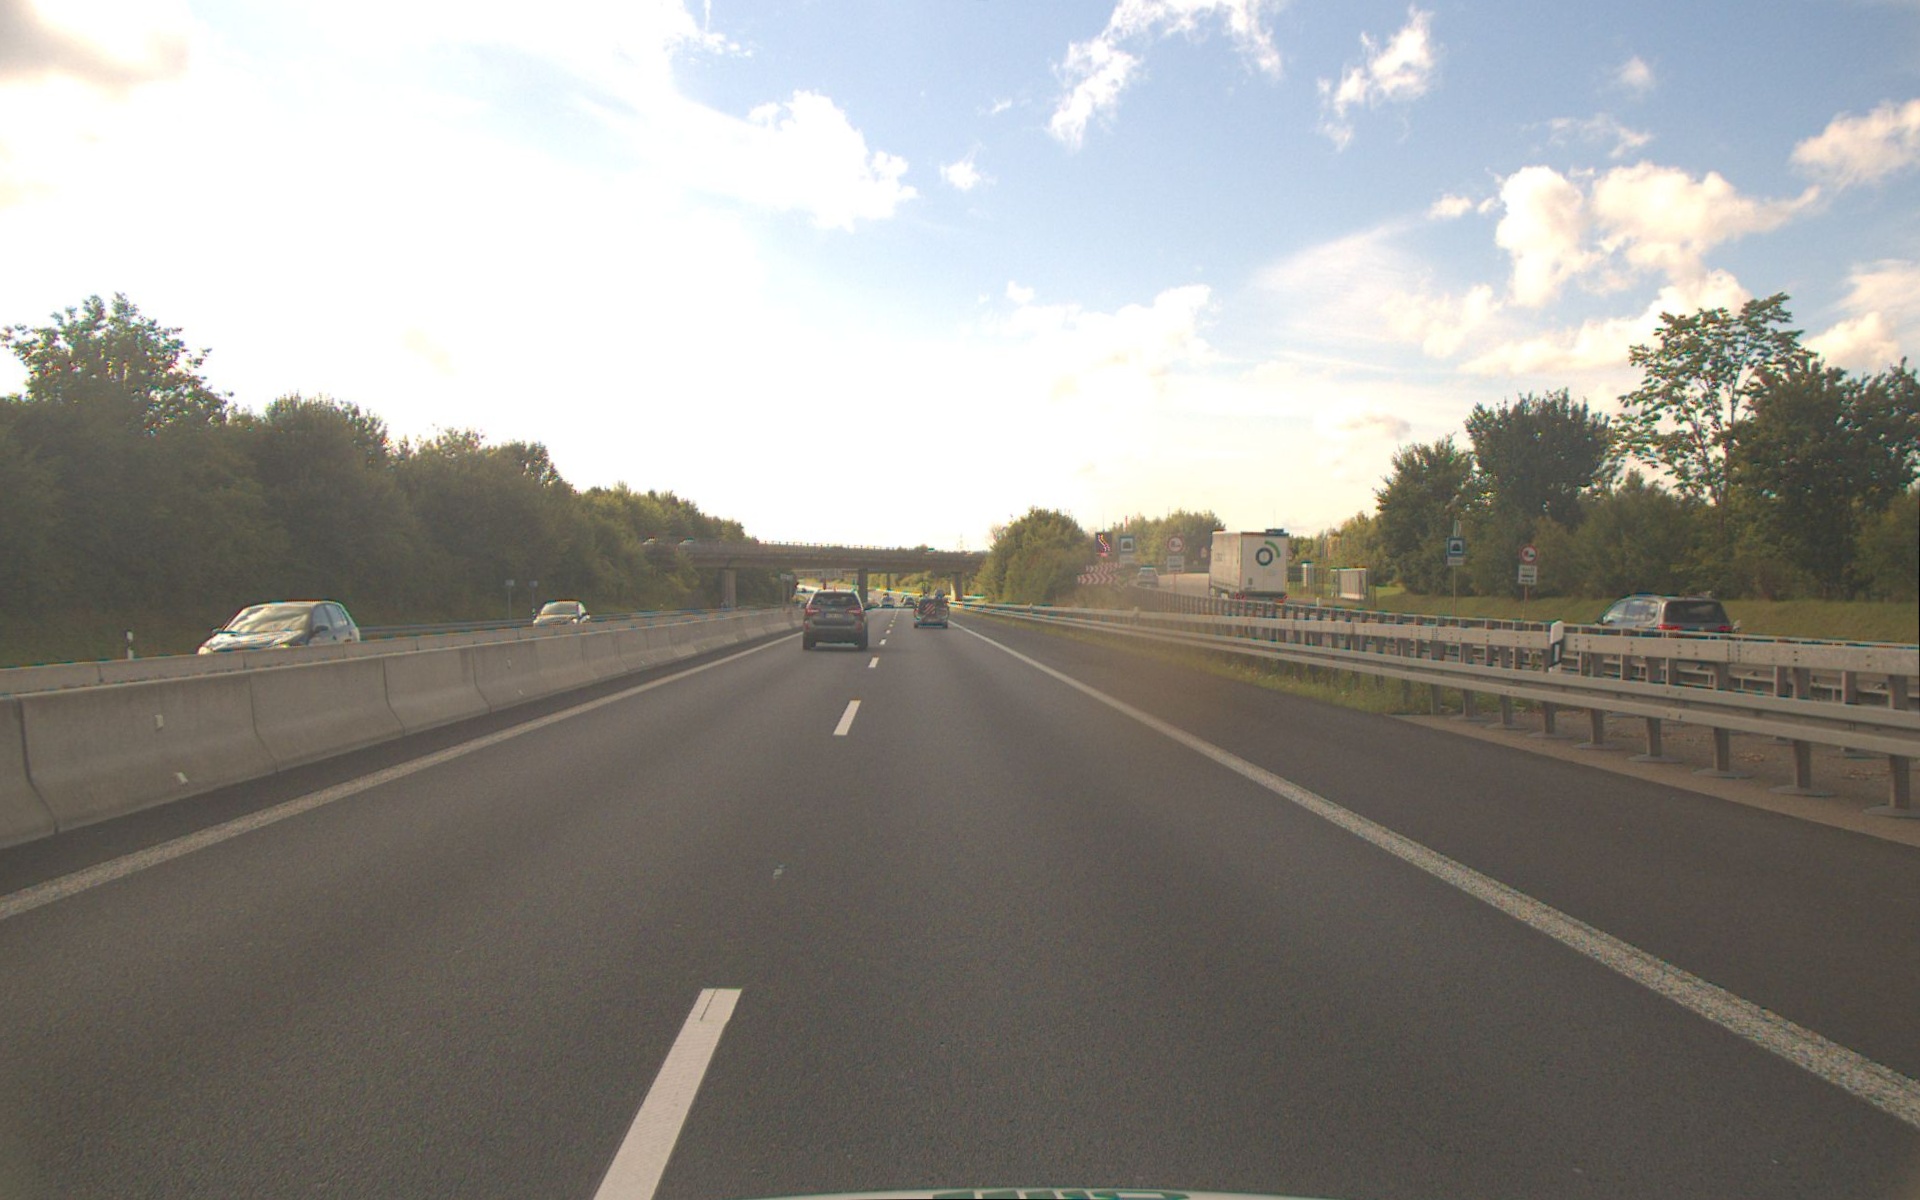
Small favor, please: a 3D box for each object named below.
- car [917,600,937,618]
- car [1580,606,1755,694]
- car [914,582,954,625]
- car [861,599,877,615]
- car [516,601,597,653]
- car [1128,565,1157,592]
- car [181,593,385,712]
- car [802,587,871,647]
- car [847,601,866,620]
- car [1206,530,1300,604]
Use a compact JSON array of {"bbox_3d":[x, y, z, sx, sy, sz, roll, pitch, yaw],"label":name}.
[{"bbox_3d":[-3.390,0.887,168.968,1.935,1.810,4.118,-2,0,-2],"label":"car"},{"bbox_3d":[15.251,1.032,35.903,1.953,1.747,3.999,-2,0,-2],"label":"car"},{"bbox_3d":[-1.360,0.199,85.571,1.953,2.117,3.999,-2,0,-2],"label":"car"},{"bbox_3d":[-12.352,0.948,224.417,1.953,2.049,3.998,-2,0,-2],"label":"car"},{"bbox_3d":[-14.393,0.922,59.181,1.953,1.747,3.999,-2,0,-2],"label":"car"},{"bbox_3d":[14.544,-1.723,131.907,1.952,2.049,4.001,-2,0,2],"label":"car"},{"bbox_3d":[-11.695,0.849,28.888,1.771,1.864,4.395,-2,0,-1],"label":"car"},{"bbox_3d":[-3.583,0.483,48.421,1.714,1.659,3.608,-2,0,0],"label":"car"},{"bbox_3d":[-11.400,1.182,182.766,1.953,2.049,3.998,-2,0,-2],"label":"car"},{"bbox_3d":[15.862,-1.724,90.158,3.504,3.741,7.546,-2,0,-2],"label":"car"}]
